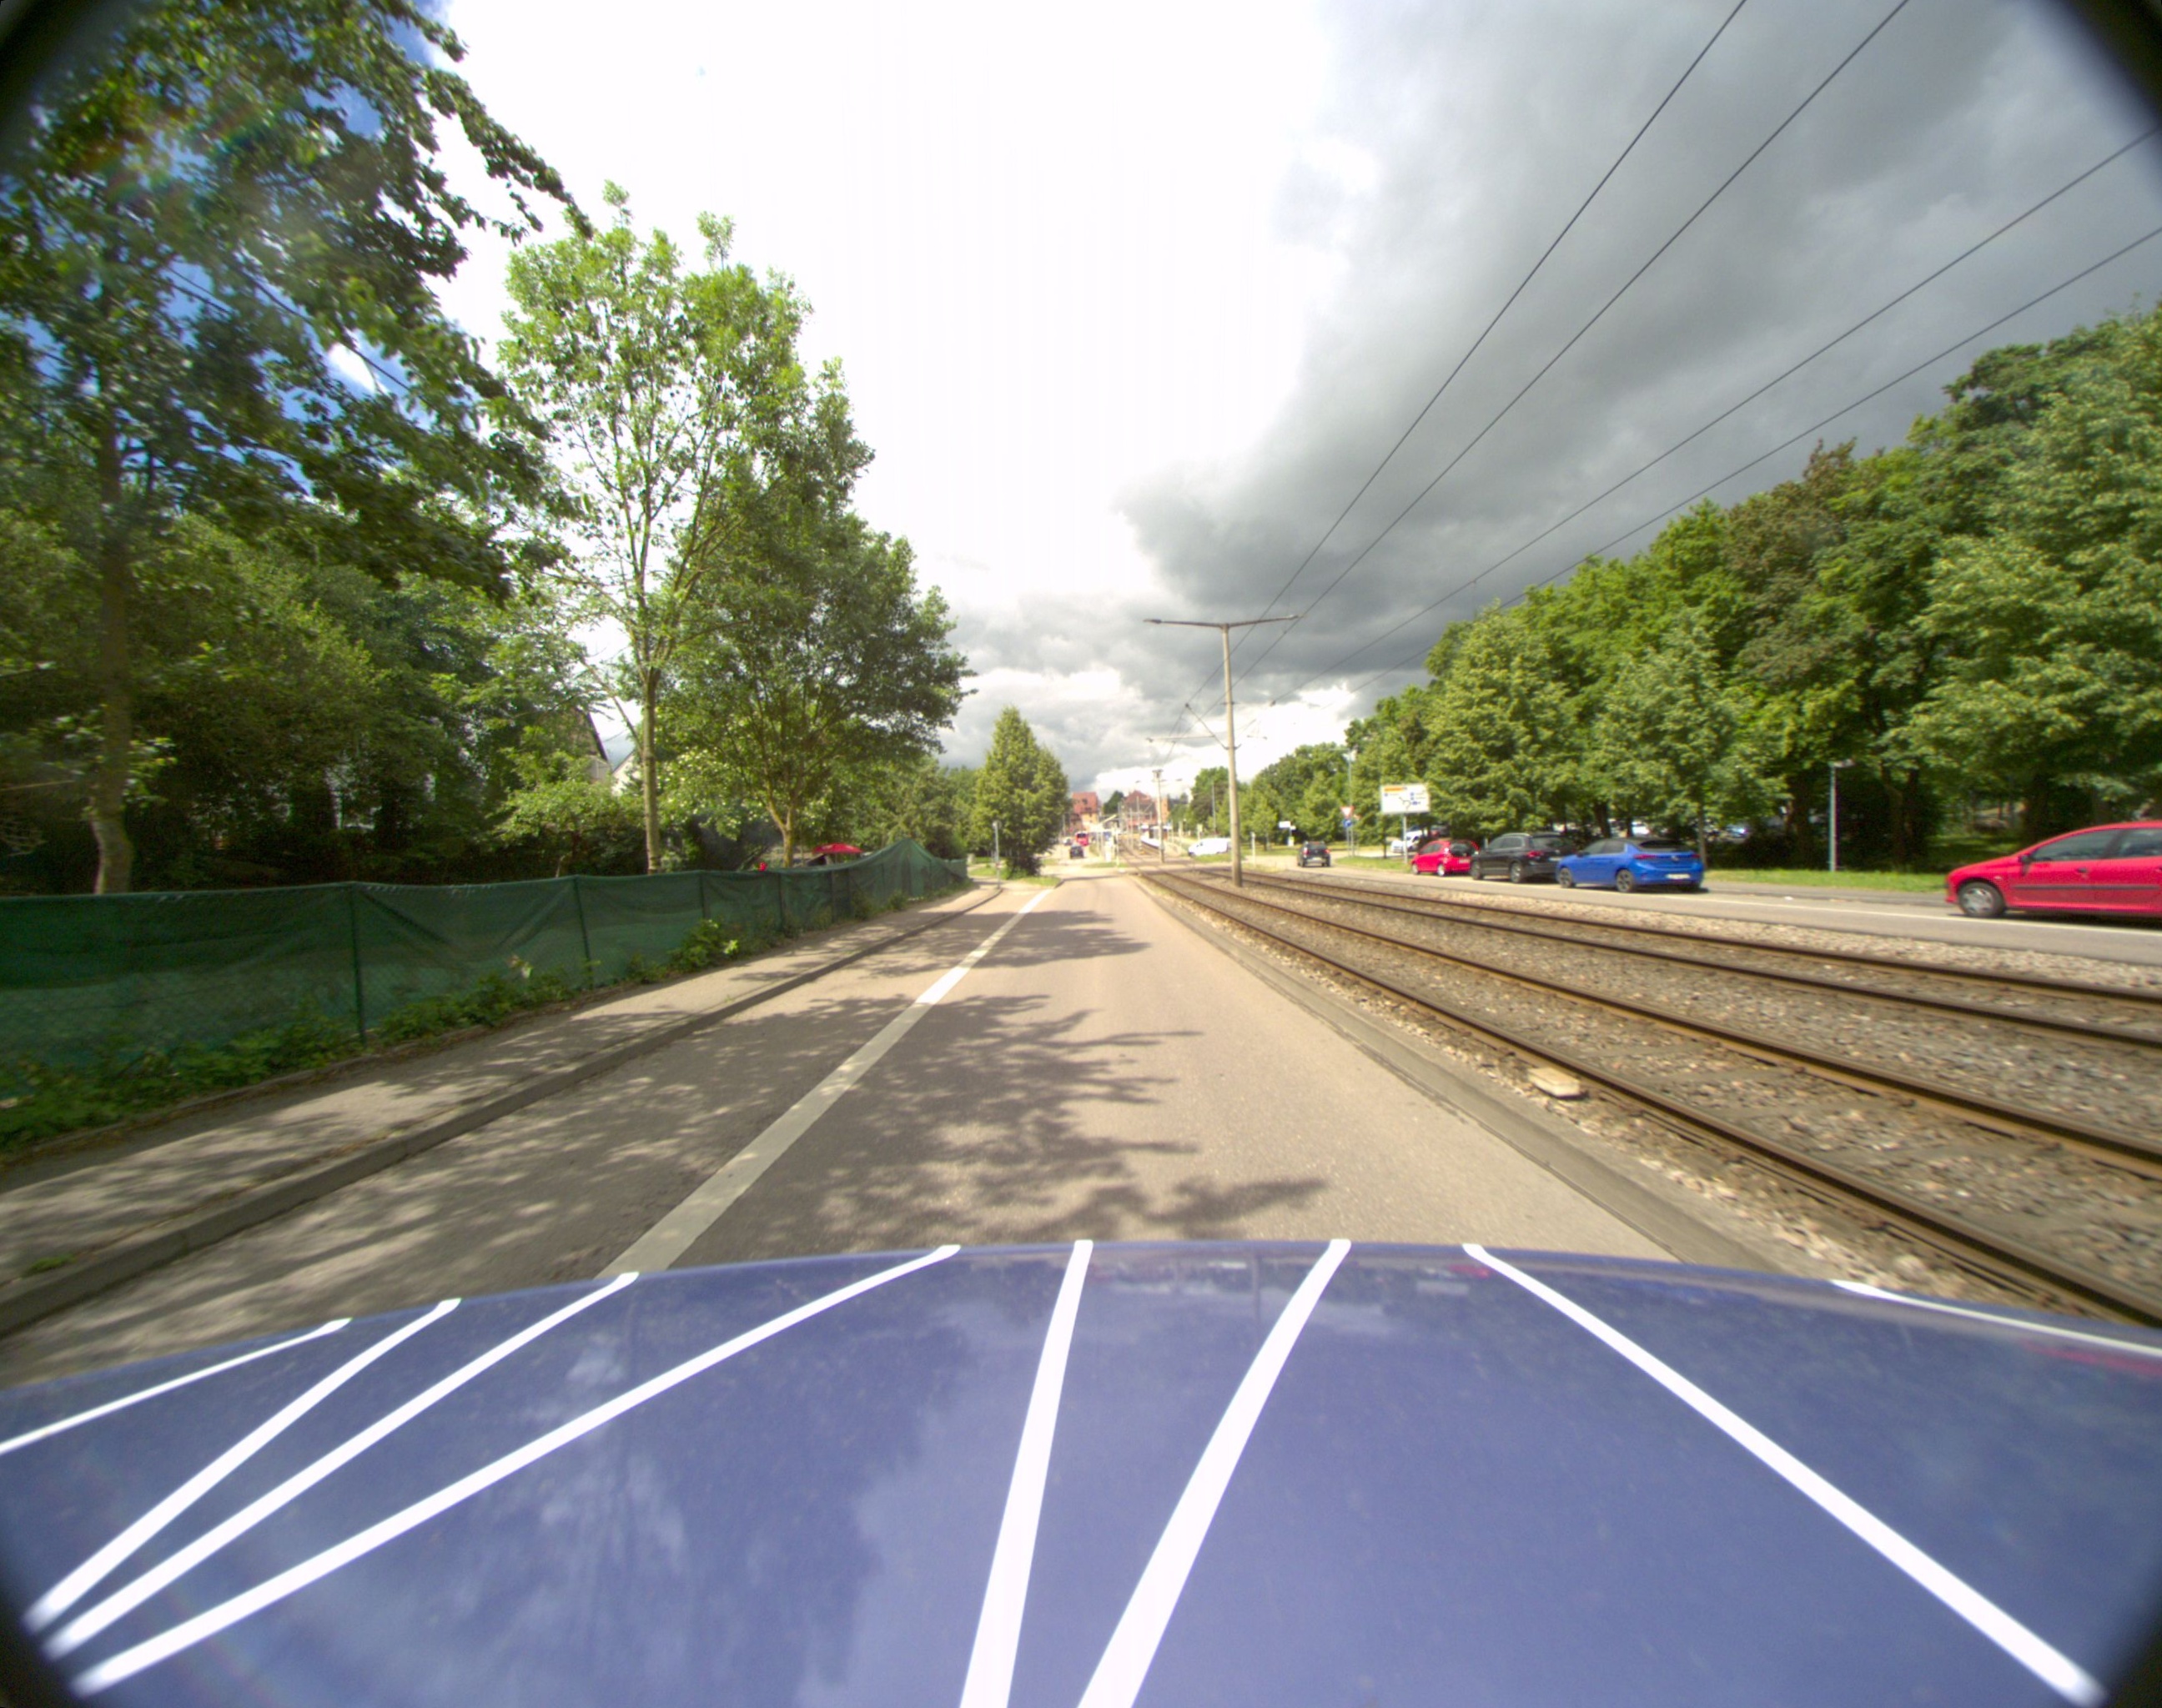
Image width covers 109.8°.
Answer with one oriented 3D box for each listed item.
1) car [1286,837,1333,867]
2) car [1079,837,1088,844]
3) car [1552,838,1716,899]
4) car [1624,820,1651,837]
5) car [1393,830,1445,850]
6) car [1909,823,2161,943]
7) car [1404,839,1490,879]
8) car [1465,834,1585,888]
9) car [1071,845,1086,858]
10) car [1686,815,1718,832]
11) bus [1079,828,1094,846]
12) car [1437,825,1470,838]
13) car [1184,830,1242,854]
[{"bbox_3d":[13.634,-0.138,45.499,1.617,1.565,3.999,-4,2,1],"label":"car"},{"bbox_3d":[0.533,-2.898,163.508,1.738,1.501,3.514,-4,2,2],"label":"car"},{"bbox_3d":[14.542,0.338,20.275,1.616,1.452,4.008,-1,1,3],"label":"car"},{"bbox_3d":[53.454,-2.444,73.015,1.754,1.412,4.006,-3,2,33],"label":"car"},{"bbox_3d":[31.928,-1.331,71.915,4.342,1.679,1.744,-2,1,17],"label":"car"},{"bbox_3d":[14.390,0.340,10.474,1.617,1.485,4.048,-3,0,3],"label":"car"},{"bbox_3d":[15.059,0.158,31.454,1.617,1.443,3.660,-4,2,-2],"label":"car"},{"bbox_3d":[14.736,0.207,25.524,1.584,1.596,4.375,-2,0,2],"label":"car"},{"bbox_3d":[-0.319,-0.387,99.613,1.858,1.576,4.324,-2,1,-2],"label":"car"},{"bbox_3d":[57.731,-2.845,70.677,1.754,1.412,4.006,-3,2,33],"label":"car"},{"bbox_3d":[1.263,-3.967,175.014,2.923,3.864,10.378,-3,1,3],"label":"bus"},{"bbox_3d":[47.779,-2.890,97.440,3.621,1.581,1.627,-2,1,-14],"label":"car"},{"bbox_3d":[12.867,-1.196,74.344,5.221,2.007,1.884,-3,3,41],"label":"car"}]
